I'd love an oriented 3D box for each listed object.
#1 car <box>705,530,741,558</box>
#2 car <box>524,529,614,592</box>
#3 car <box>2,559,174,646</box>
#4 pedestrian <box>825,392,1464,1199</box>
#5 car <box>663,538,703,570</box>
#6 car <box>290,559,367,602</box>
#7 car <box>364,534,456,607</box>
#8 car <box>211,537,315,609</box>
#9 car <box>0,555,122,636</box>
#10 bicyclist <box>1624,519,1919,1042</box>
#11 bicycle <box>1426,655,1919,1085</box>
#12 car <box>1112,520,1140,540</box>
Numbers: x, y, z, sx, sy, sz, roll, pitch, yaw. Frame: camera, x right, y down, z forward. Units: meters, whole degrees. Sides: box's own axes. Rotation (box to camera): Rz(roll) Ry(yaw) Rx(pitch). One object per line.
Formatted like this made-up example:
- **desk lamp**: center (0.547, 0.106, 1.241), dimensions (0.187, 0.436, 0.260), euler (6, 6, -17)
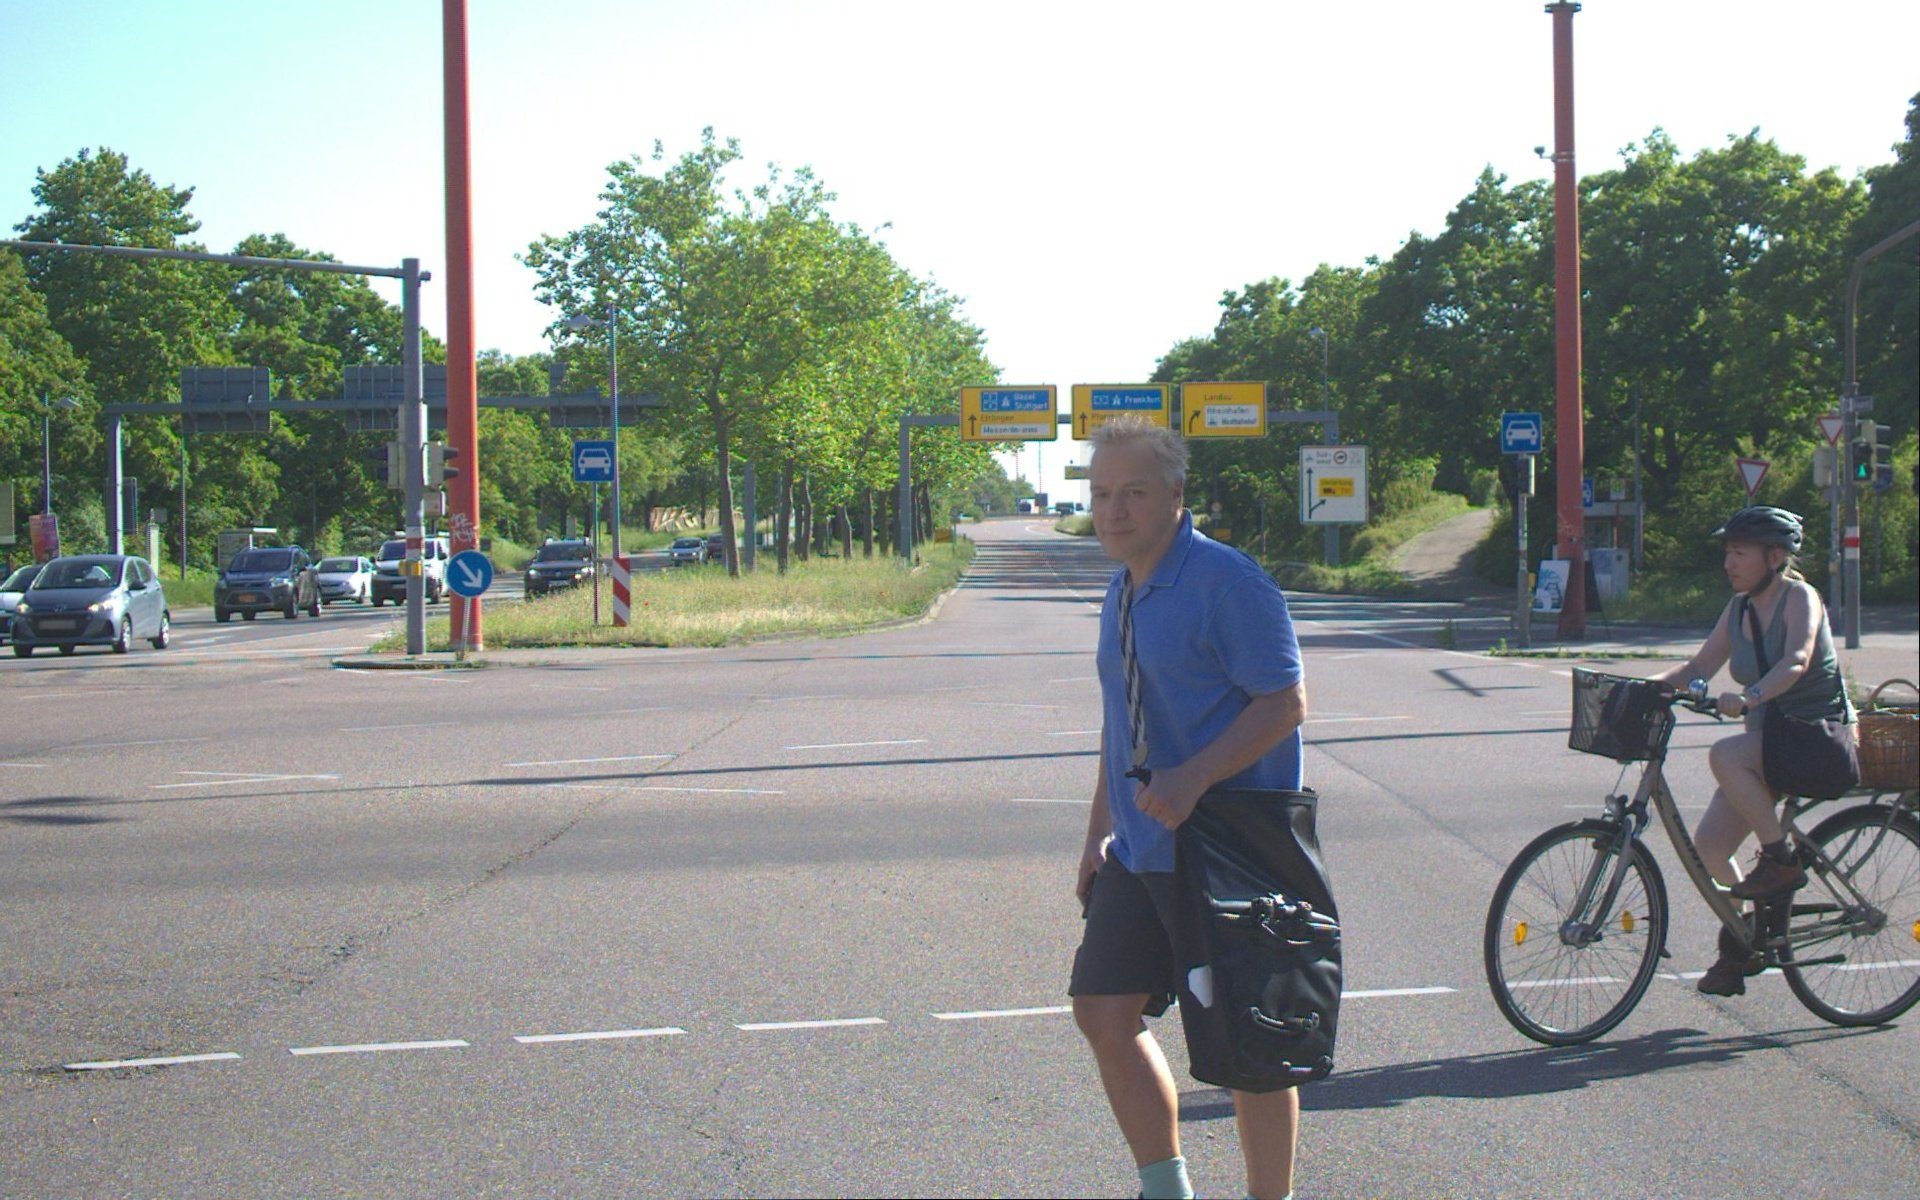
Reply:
- **car**: center (-13.541, -3.204, 196.664), dimensions (1.819, 1.623, 4.000), euler (-1, 1, -1)
- **car**: center (-9.717, -0.991, 85.648), dimensions (1.819, 1.503, 4.000), euler (-1, 1, -1)
- **car**: center (-13.120, 0.018, 51.897), dimensions (1.739, 1.239, 3.613), euler (-1, 1, -1)
- **pedestrian**: center (0.356, 0.494, 7.047), dimensions (0.984, 1.787, 0.955), euler (-1, 1, -22)
- **car**: center (-14.619, -2.424, 181.808), dimensions (1.797, 1.634, 4.000), euler (-1, 1, 0)
- **car**: center (-19.099, -0.609, 104.100), dimensions (1.739, 1.239, 3.613), euler (-1, 1, -1)
- **car**: center (-15.673, -0.855, 98.110), dimensions (1.893, 2.019, 5.224), euler (-1, 1, -1)
- **car**: center (-16.099, -0.633, 79.548), dimensions (1.739, 1.606, 3.613), euler (-1, 1, -1)
- **car**: center (-16.384, -0.101, 62.007), dimensions (1.739, 1.406, 3.613), euler (-1, 1, -1)
- **bicyclist**: center (2.578, 0.539, 10.845), dimensions (0.660, 1.579, 0.673), euler (-1, 1, -28)
- **bicycle**: center (2.467, 0.801, 10.793), dimensions (1.942, 1.191, 0.692), euler (-1, 1, -28)
- **car**: center (12.250, -5.154, 253.637), dimensions (1.794, 1.405, 4.000), euler (1, 1, -1)
